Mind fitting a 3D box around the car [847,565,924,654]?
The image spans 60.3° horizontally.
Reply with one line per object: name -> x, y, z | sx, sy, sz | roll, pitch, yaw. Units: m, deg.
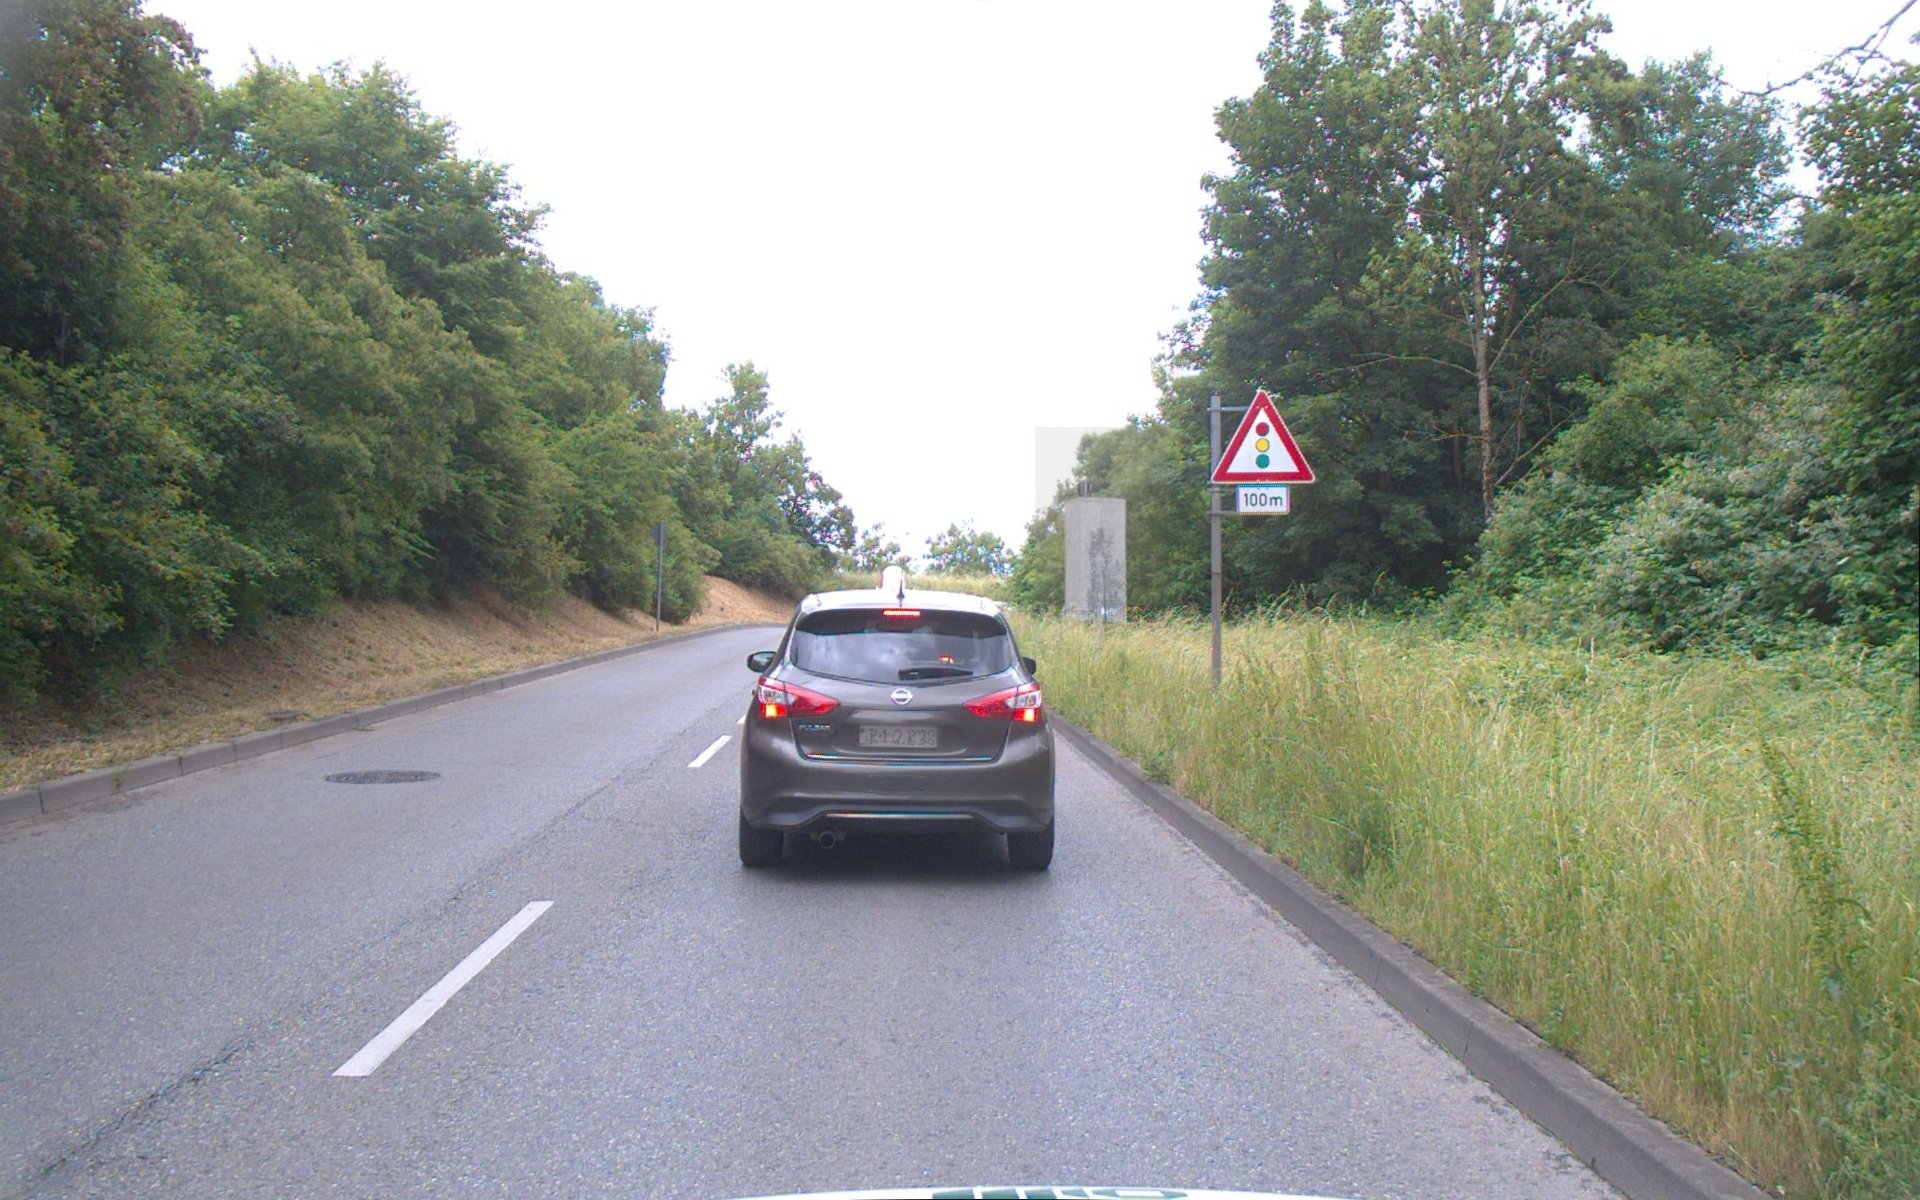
car -> -1.687, 0.201, 38.477 | 1.701, 1.968, 3.542 | 0, 0, -1

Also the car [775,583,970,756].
car -> -0.848, 0.626, 16.995 | 1.793, 1.583, 3.623 | 0, 0, -2

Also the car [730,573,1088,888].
car -> -0.357, 0.658, 10.140 | 1.794, 1.583, 3.497 | 1, 0, -4

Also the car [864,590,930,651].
car -> -1.690, 0.519, 44.009 | 1.701, 1.553, 3.541 | 0, 0, -3

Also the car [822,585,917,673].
car -> -1.661, 0.507, 31.363 | 1.701, 1.583, 3.542 | 0, 0, -2

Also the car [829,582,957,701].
car -> -0.932, 0.537, 23.704 | 1.701, 1.583, 3.542 | 0, 0, -2

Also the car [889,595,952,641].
car -> -1.364, 0.611, 58.274 | 1.699, 1.553, 3.644 | 0, 0, 7
